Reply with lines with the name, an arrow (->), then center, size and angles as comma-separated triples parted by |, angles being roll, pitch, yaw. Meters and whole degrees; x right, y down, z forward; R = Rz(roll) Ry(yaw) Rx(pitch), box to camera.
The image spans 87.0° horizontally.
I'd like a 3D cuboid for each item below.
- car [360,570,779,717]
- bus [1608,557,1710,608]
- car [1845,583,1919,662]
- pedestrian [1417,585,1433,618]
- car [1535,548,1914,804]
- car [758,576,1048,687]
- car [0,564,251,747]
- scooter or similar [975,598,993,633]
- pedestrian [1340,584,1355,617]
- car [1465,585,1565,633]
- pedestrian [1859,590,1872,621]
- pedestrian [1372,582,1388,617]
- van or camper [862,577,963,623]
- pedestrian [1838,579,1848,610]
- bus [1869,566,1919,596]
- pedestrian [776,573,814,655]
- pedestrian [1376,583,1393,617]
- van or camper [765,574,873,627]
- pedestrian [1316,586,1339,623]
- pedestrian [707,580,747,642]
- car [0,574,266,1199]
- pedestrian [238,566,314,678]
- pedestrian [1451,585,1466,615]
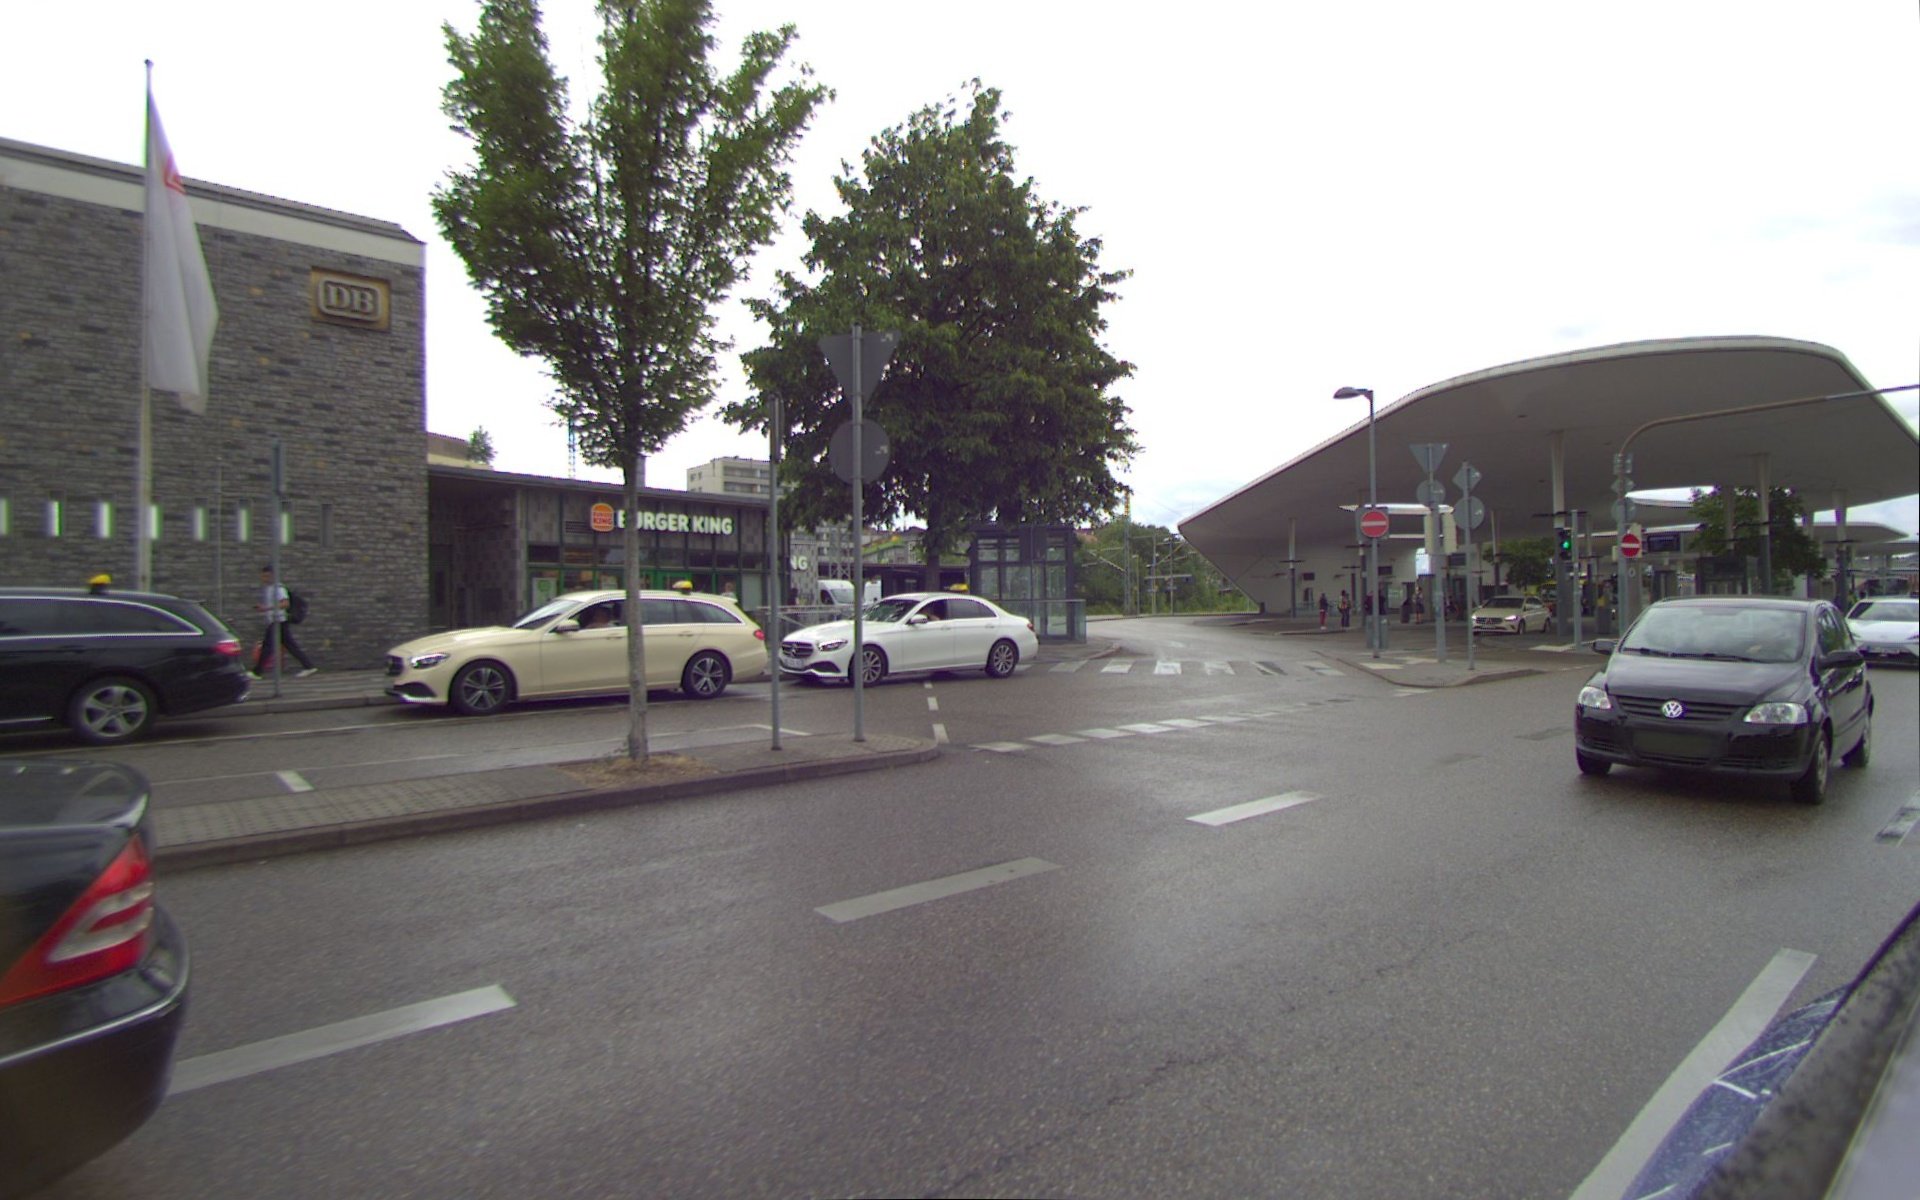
car -> -5.064, 0.442, 13.571 | 4.871, 1.619, 1.997 | 0, 2, -41
bus -> 46.968, -1.212, 67.805 | 11.715, 3.120, 2.874 | -1, 2, -41
car -> 20.855, 0.442, 22.431 | 1.805, 1.578, 3.988 | 2, 2, 42
pedestrian -> 22.289, 0.065, 48.520 | 0.525, 1.533, 0.479 | 0, 0, -37
car -> 6.819, 0.448, 8.866 | 4.086, 1.723, 1.874 | -1, 2, -42
car -> -0.854, 0.415, 17.273 | 4.817, 1.619, 1.883 | -1, 2, -41
car -> -9.632, 0.503, 9.344 | 4.874, 1.620, 1.996 | -1, 0, -42
scooter or similar -> 0.864, 0.543, 36.004 | 0.329, 1.197, 1.298 | 1, 1, 16
pedestrian -> 18.218, 0.012, 47.604 | 0.469, 1.533, 0.536 | 0, 0, -6
car -> 21.636, 0.304, 39.396 | 4.463, 1.702, 1.997 | -1, 2, -41
pedestrian -> 51.561, 0.301, 57.624 | 0.442, 1.786, 0.532 | 0, 0, 29
pedestrian -> 18.997, -0.026, 45.769 | 0.470, 1.533, 0.535 | 0, 0, -36
van or camper -> -2.626, -0.040, 57.247 | 5.763, 2.463, 1.997 | -1, 2, -41
pedestrian -> 50.906, -0.335, 58.362 | 0.444, 1.786, 0.529 | 0, 0, 42
bus -> 102.376, -2.106, 110.988 | 3.568, 3.137, 10.599 | 0, 1, 40
pedestrian -> -4.506, 0.363, 27.633 | 0.787, 2.191, 0.718 | 1, 1, 18
pedestrian -> 18.812, -0.006, 44.838 | 0.470, 1.533, 0.535 | 0, 0, -36
van or camper -> -7.094, -0.049, 50.454 | 5.844, 2.463, 2.132 | 2, 2, 43
pedestrian -> 16.692, 0.198, 45.982 | 0.726, 1.615, 0.643 | 0, 1, -27
pedestrian -> -6.109, 0.276, 26.566 | 0.766, 1.599, 0.701 | 1, 1, 36
car -> -3.568, 0.718, 1.114 | 1.694, 1.484, 4.383 | 2, 2, 43
pedestrian -> -10.583, 0.319, 15.678 | 0.640, 1.688, 0.770 | 1, 0, 27
pedestrian -> 25.166, 0.003, 51.118 | 0.525, 1.533, 0.479 | 0, 0, -37
